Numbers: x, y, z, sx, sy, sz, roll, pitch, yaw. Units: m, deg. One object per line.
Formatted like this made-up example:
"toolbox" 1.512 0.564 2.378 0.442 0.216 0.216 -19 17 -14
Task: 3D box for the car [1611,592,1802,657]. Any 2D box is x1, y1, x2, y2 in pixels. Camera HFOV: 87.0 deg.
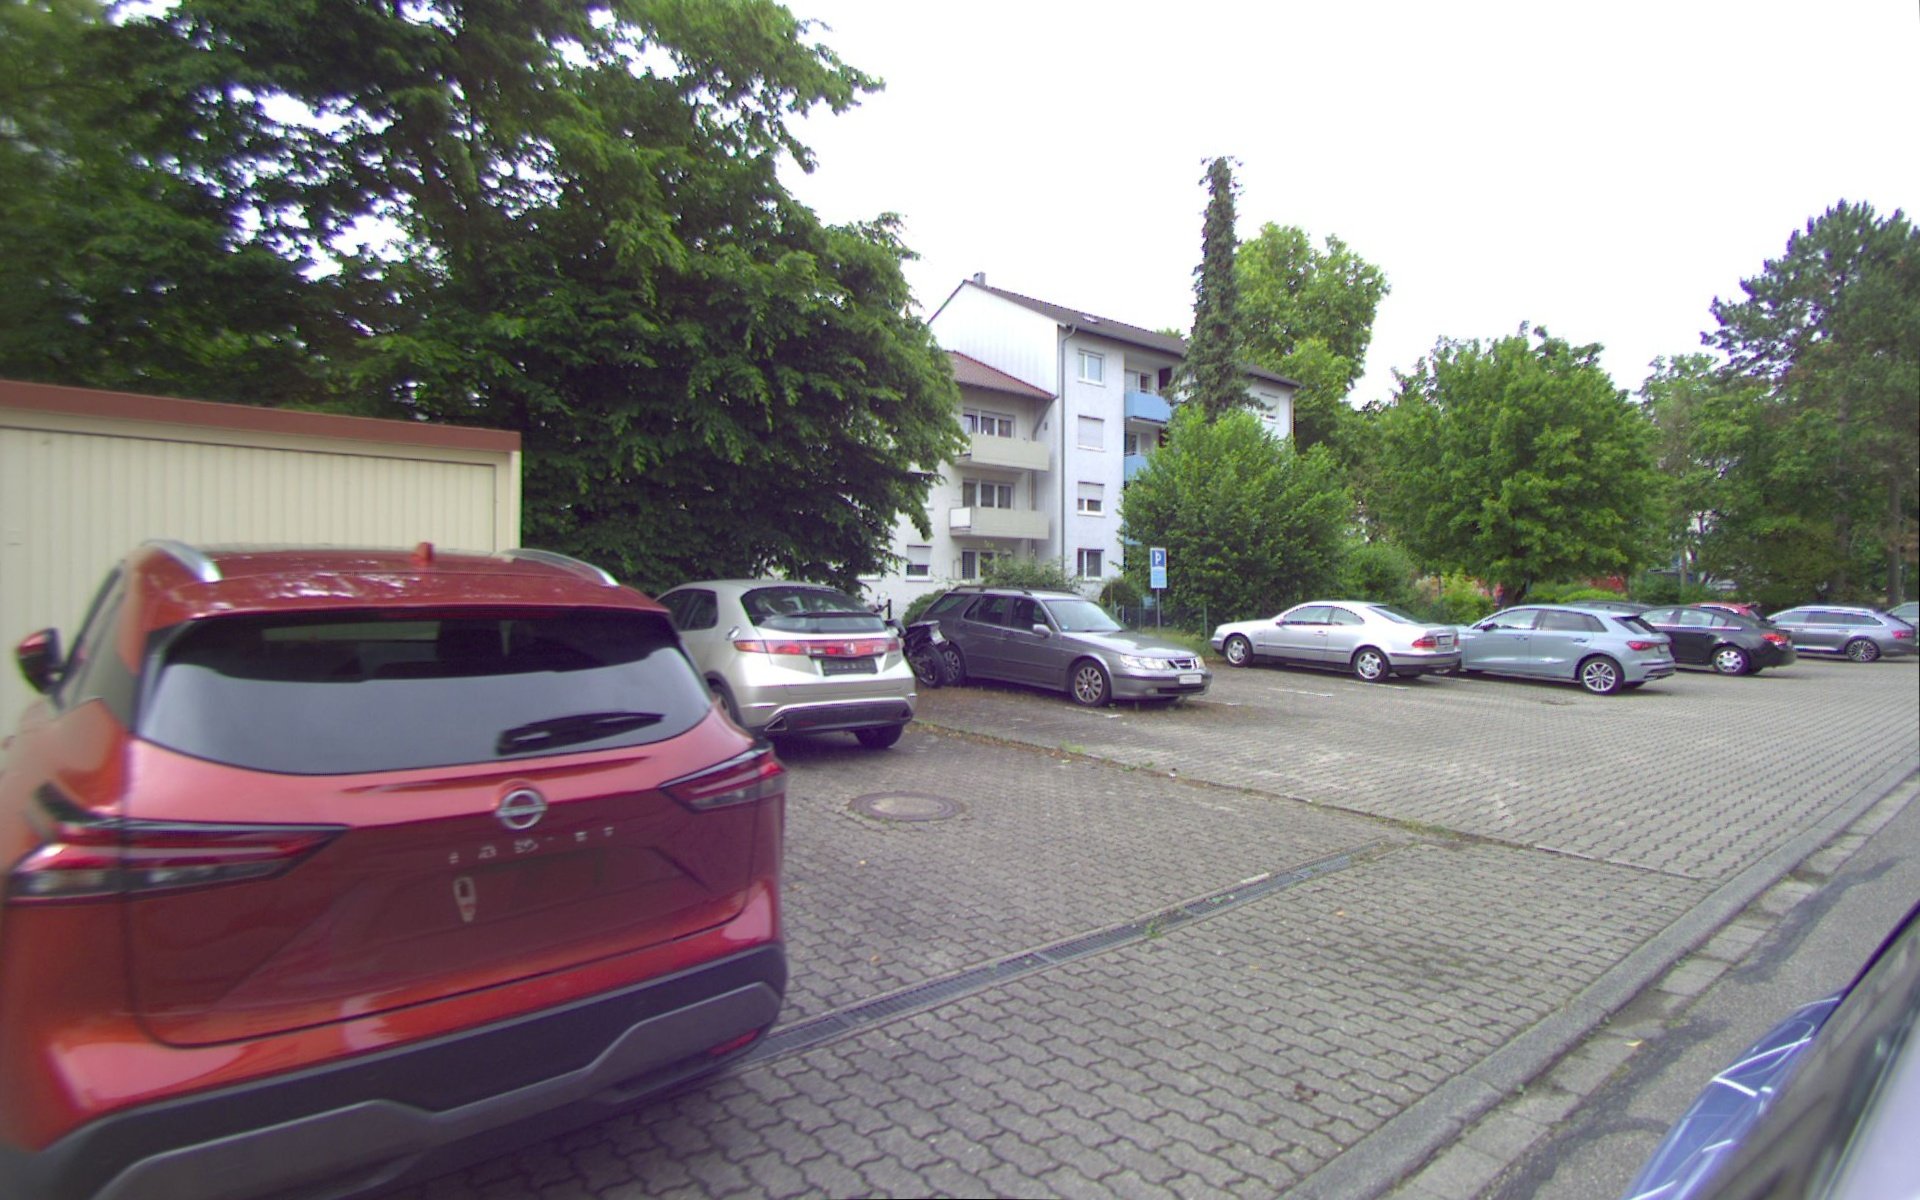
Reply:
"car" 21.498 0.657 29.279 1.756 1.503 4.104 1 3 -40

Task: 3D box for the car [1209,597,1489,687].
"car" 7.014 0.668 18.591 1.992 1.402 4.397 0 1 -42

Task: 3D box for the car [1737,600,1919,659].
"car" 24.963 0.777 28.927 1.756 1.504 4.100 0 1 -41

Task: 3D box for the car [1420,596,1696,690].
"car" 10.638 0.682 18.203 1.702 1.453 3.971 0 1 -42

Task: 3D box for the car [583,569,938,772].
"car" -2.036 0.473 9.466 1.682 1.465 3.836 0 1 -38

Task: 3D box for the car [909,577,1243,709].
"car" 1.457 0.466 14.193 1.835 1.549 4.579 0 1 -43

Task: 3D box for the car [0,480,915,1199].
"car" -2.258 0.519 3.796 1.901 1.605 4.297 1 2 -41

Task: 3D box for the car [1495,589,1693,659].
"car" 16.843 0.574 27.049 1.756 1.503 4.104 1 3 -40

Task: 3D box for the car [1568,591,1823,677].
"car" 16.516 0.687 22.930 1.756 1.503 4.335 1 3 -40

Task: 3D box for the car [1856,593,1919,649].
"car" 29.966 0.658 30.633 1.756 1.667 4.100 0 1 -41

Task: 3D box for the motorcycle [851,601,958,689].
"motorcycle" -0.825 0.611 14.662 0.708 1.137 1.613 1 2 -40
